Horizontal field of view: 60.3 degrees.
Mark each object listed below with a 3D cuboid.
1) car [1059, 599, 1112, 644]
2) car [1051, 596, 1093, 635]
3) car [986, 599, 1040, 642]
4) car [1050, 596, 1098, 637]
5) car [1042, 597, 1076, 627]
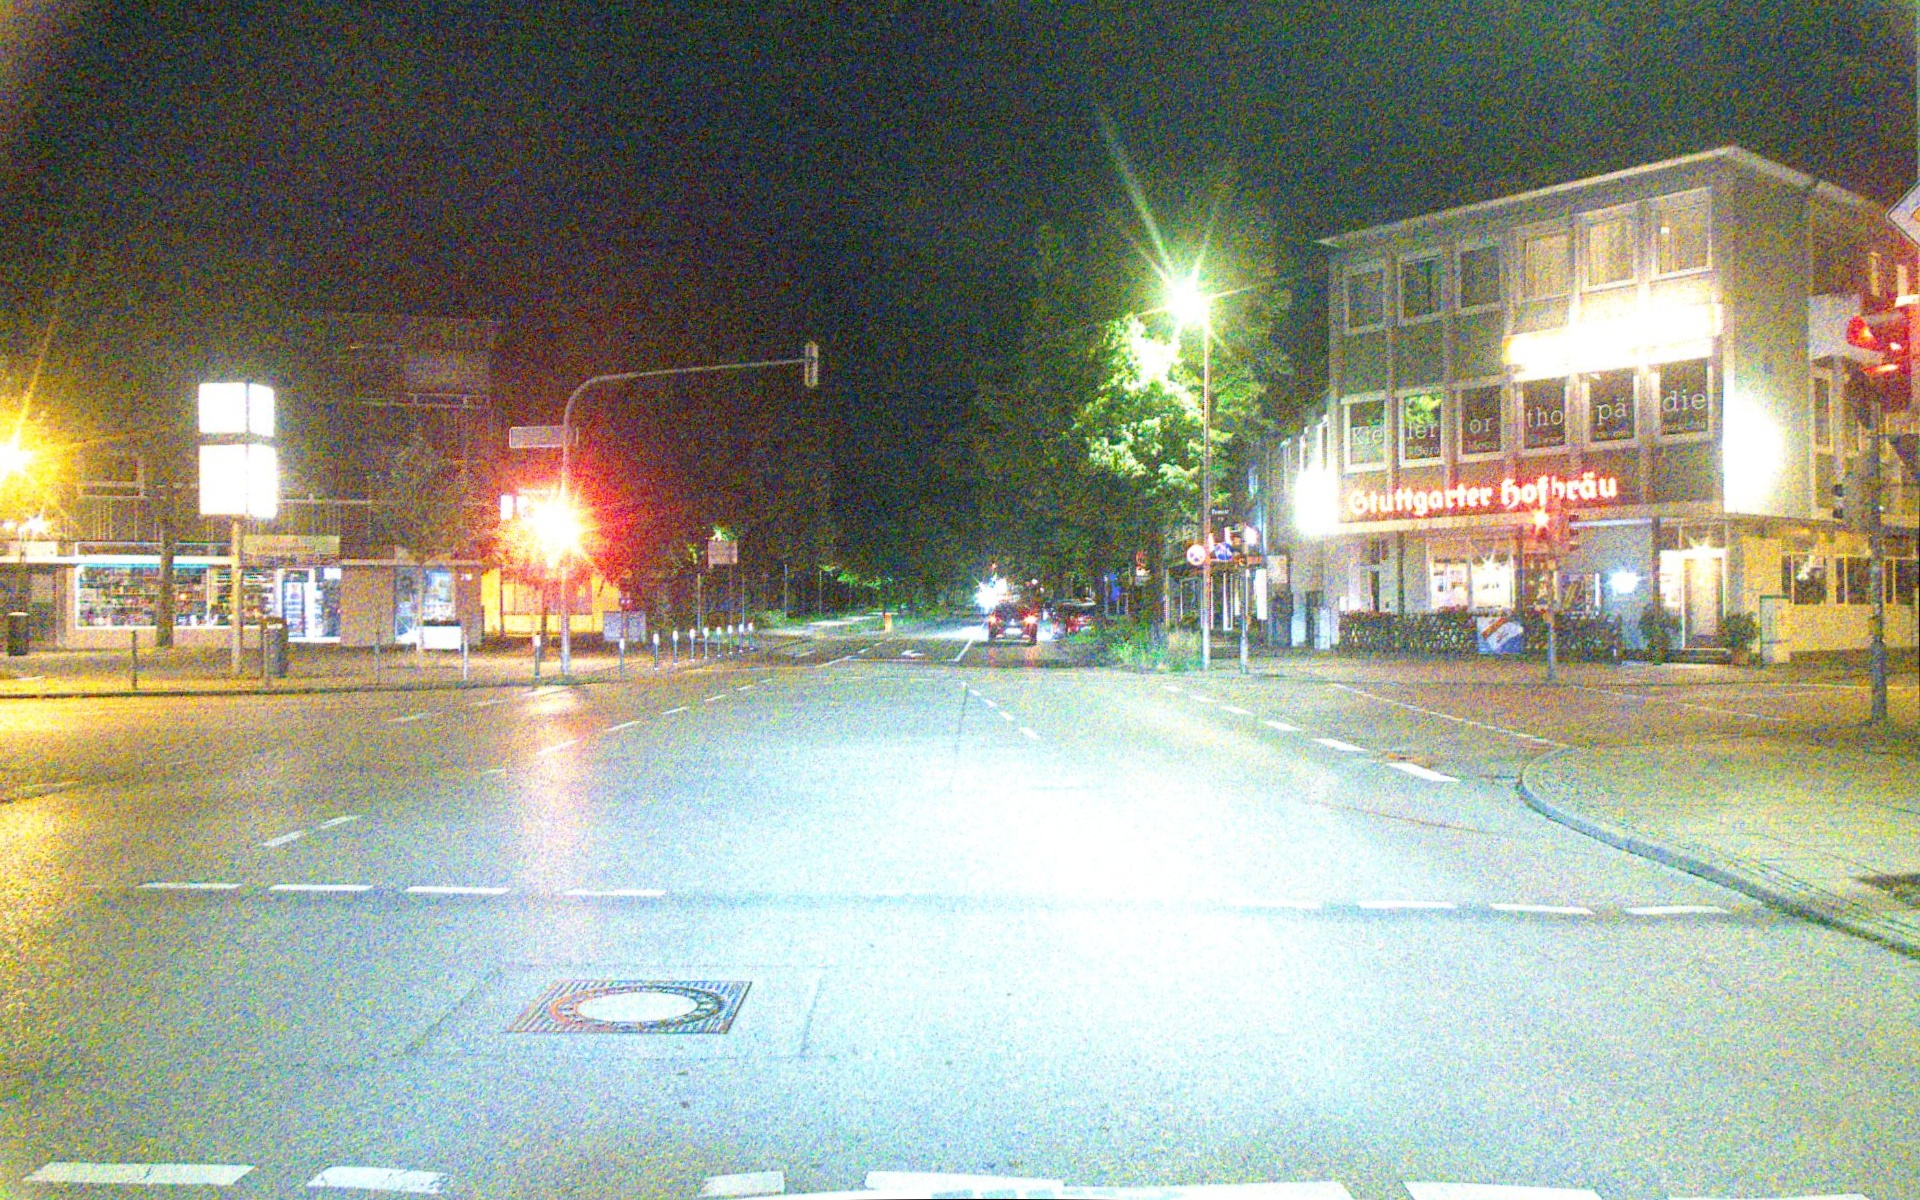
[{"bbox_3d":[4.788,0.808,63.543,1.837,1.643,4.001,0,0,2],"label":"car"},{"bbox_3d":[5.152,0.713,76.527,1.837,1.759,4.001,0,0,2],"label":"car"},{"bbox_3d":[1.995,0.745,60.992,1.834,1.479,4.318,1,0,4],"label":"car"},{"bbox_3d":[4.728,0.684,68.850,1.837,1.643,4.001,0,0,2],"label":"car"},{"bbox_3d":[5.660,0.682,94.573,1.837,1.713,4.001,0,0,2],"label":"car"}]
